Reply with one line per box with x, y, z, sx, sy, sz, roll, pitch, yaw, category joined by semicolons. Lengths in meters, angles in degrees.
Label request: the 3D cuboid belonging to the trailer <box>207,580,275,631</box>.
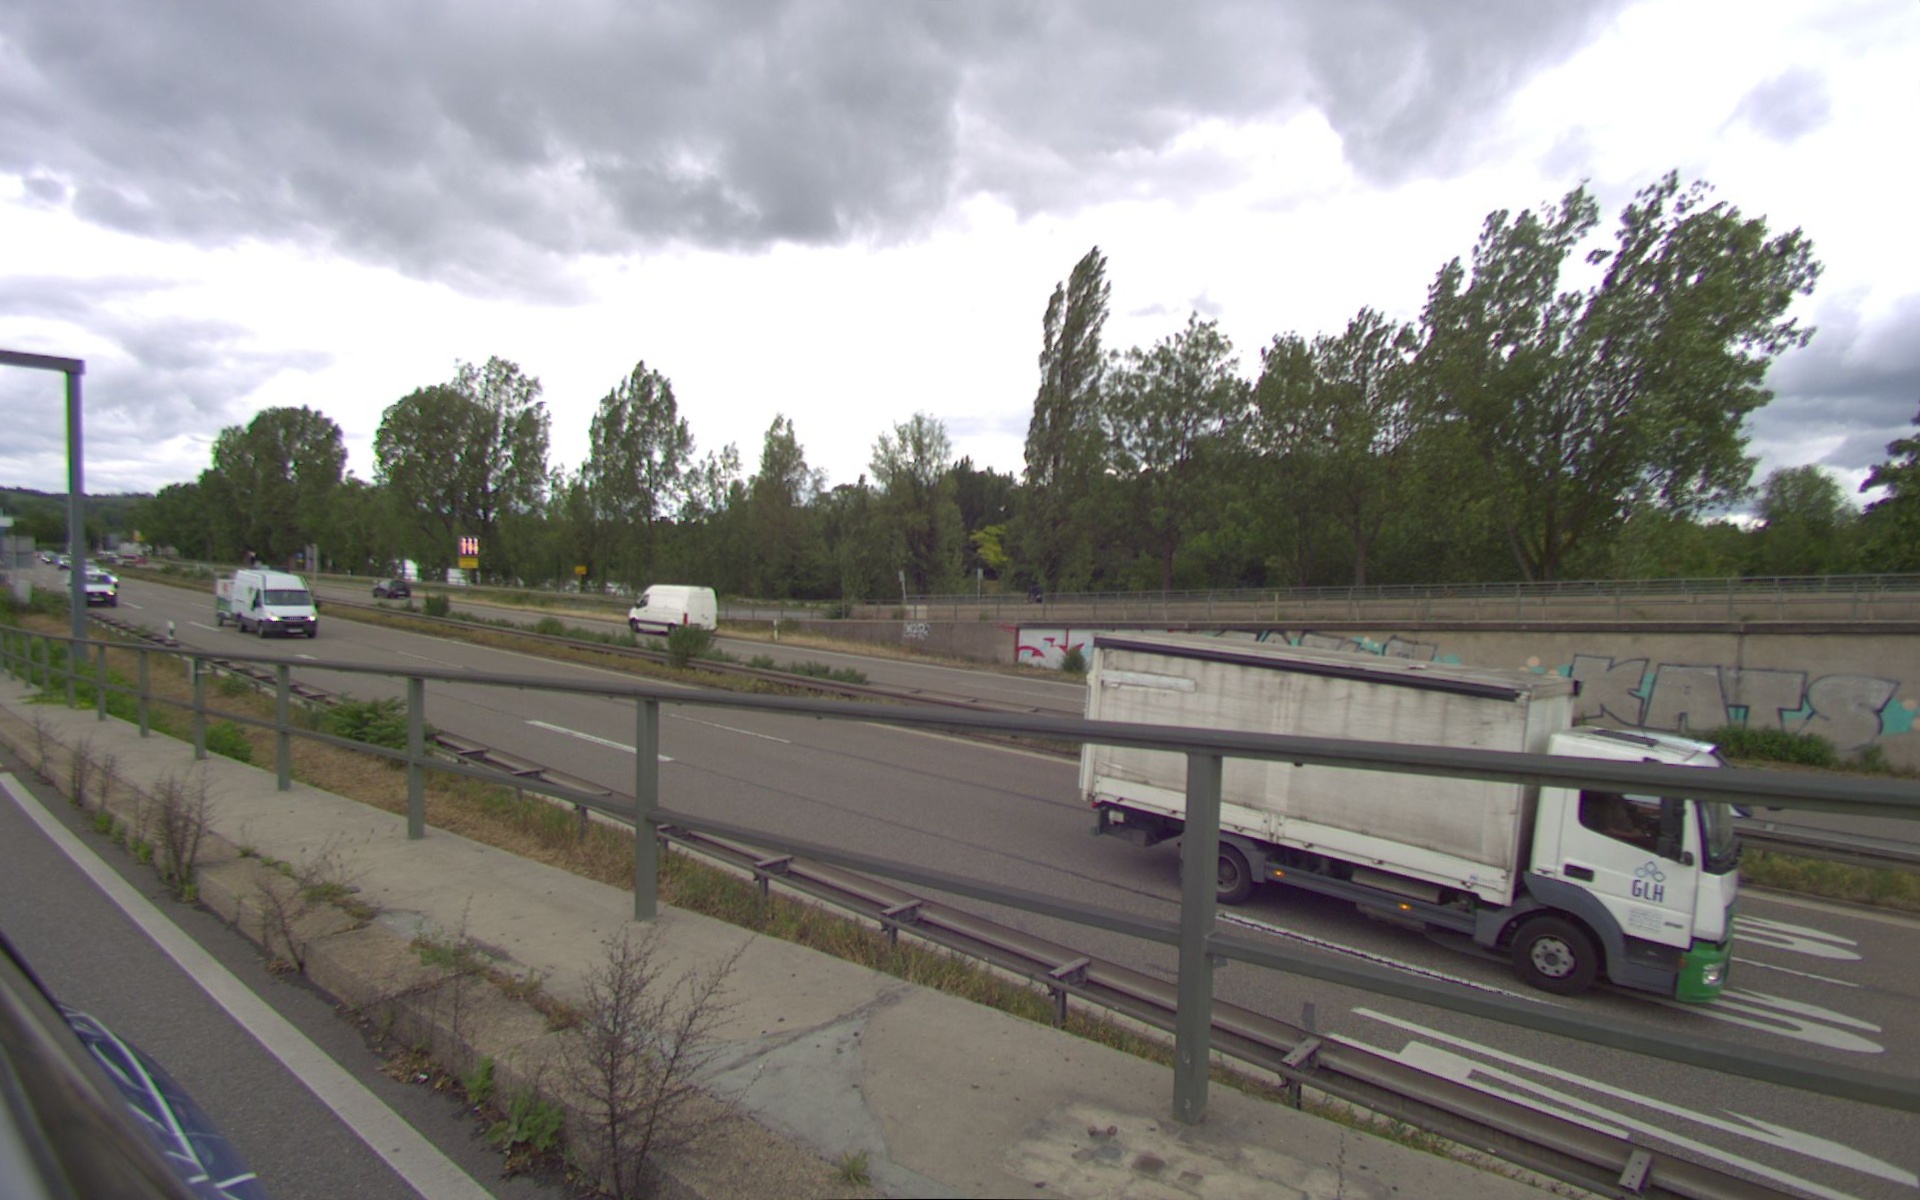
-33.121;0.196;46.595;3.935;2.145;1.711;3;2;41;trailer

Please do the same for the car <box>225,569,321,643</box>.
-29.502;0.165;43.387;5.931;2.704;1.973;4;4;41;car

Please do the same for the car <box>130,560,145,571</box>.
-160.743;-6.718;197.758;1.970;1.829;4.004;-1;0;-43;car

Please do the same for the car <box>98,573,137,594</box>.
-66.141;-1.297;79.413;4.164;1.462;1.724;3;2;41;car

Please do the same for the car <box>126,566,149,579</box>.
-114.356;-3.795;140.639;3.930;1.662;1.879;2;2;41;car

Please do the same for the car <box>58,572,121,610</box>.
-48.905;-0.552;56.811;5.197;1.890;1.973;4;3;41;car

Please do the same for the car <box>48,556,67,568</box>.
-147.618;-6.203;165.588;4.279;1.726;1.821;4;3;42;car

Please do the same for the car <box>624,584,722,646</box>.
-14.796;0.720;52.049;5.359;2.800;2.187;4;2;41;car

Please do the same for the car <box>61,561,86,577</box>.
-112.105;-3.935;127.974;4.898;1.949;1.928;4;3;44;car

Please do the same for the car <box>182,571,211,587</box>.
-86.947;-2.410;115.291;3.930;1.662;1.879;2;2;41;car

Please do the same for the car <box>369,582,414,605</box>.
-44.304;-0.518;78.844;3.931;1.662;1.879;3;2;41;car

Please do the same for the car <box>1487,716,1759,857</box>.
12.061;3.294;18.553;3.930;1.662;1.739;4;3;41;car

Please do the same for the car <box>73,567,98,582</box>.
-97.183;-2.838;112.472;3.681;1.564;1.540;3;3;41;car

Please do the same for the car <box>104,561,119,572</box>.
-164.992;-6.499;196.800;1.970;1.829;4.004;-1;0;-43;car

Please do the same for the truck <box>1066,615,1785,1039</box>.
5.160;2.048;12.352;7.439;3.317;2.718;3;2;41;truck
